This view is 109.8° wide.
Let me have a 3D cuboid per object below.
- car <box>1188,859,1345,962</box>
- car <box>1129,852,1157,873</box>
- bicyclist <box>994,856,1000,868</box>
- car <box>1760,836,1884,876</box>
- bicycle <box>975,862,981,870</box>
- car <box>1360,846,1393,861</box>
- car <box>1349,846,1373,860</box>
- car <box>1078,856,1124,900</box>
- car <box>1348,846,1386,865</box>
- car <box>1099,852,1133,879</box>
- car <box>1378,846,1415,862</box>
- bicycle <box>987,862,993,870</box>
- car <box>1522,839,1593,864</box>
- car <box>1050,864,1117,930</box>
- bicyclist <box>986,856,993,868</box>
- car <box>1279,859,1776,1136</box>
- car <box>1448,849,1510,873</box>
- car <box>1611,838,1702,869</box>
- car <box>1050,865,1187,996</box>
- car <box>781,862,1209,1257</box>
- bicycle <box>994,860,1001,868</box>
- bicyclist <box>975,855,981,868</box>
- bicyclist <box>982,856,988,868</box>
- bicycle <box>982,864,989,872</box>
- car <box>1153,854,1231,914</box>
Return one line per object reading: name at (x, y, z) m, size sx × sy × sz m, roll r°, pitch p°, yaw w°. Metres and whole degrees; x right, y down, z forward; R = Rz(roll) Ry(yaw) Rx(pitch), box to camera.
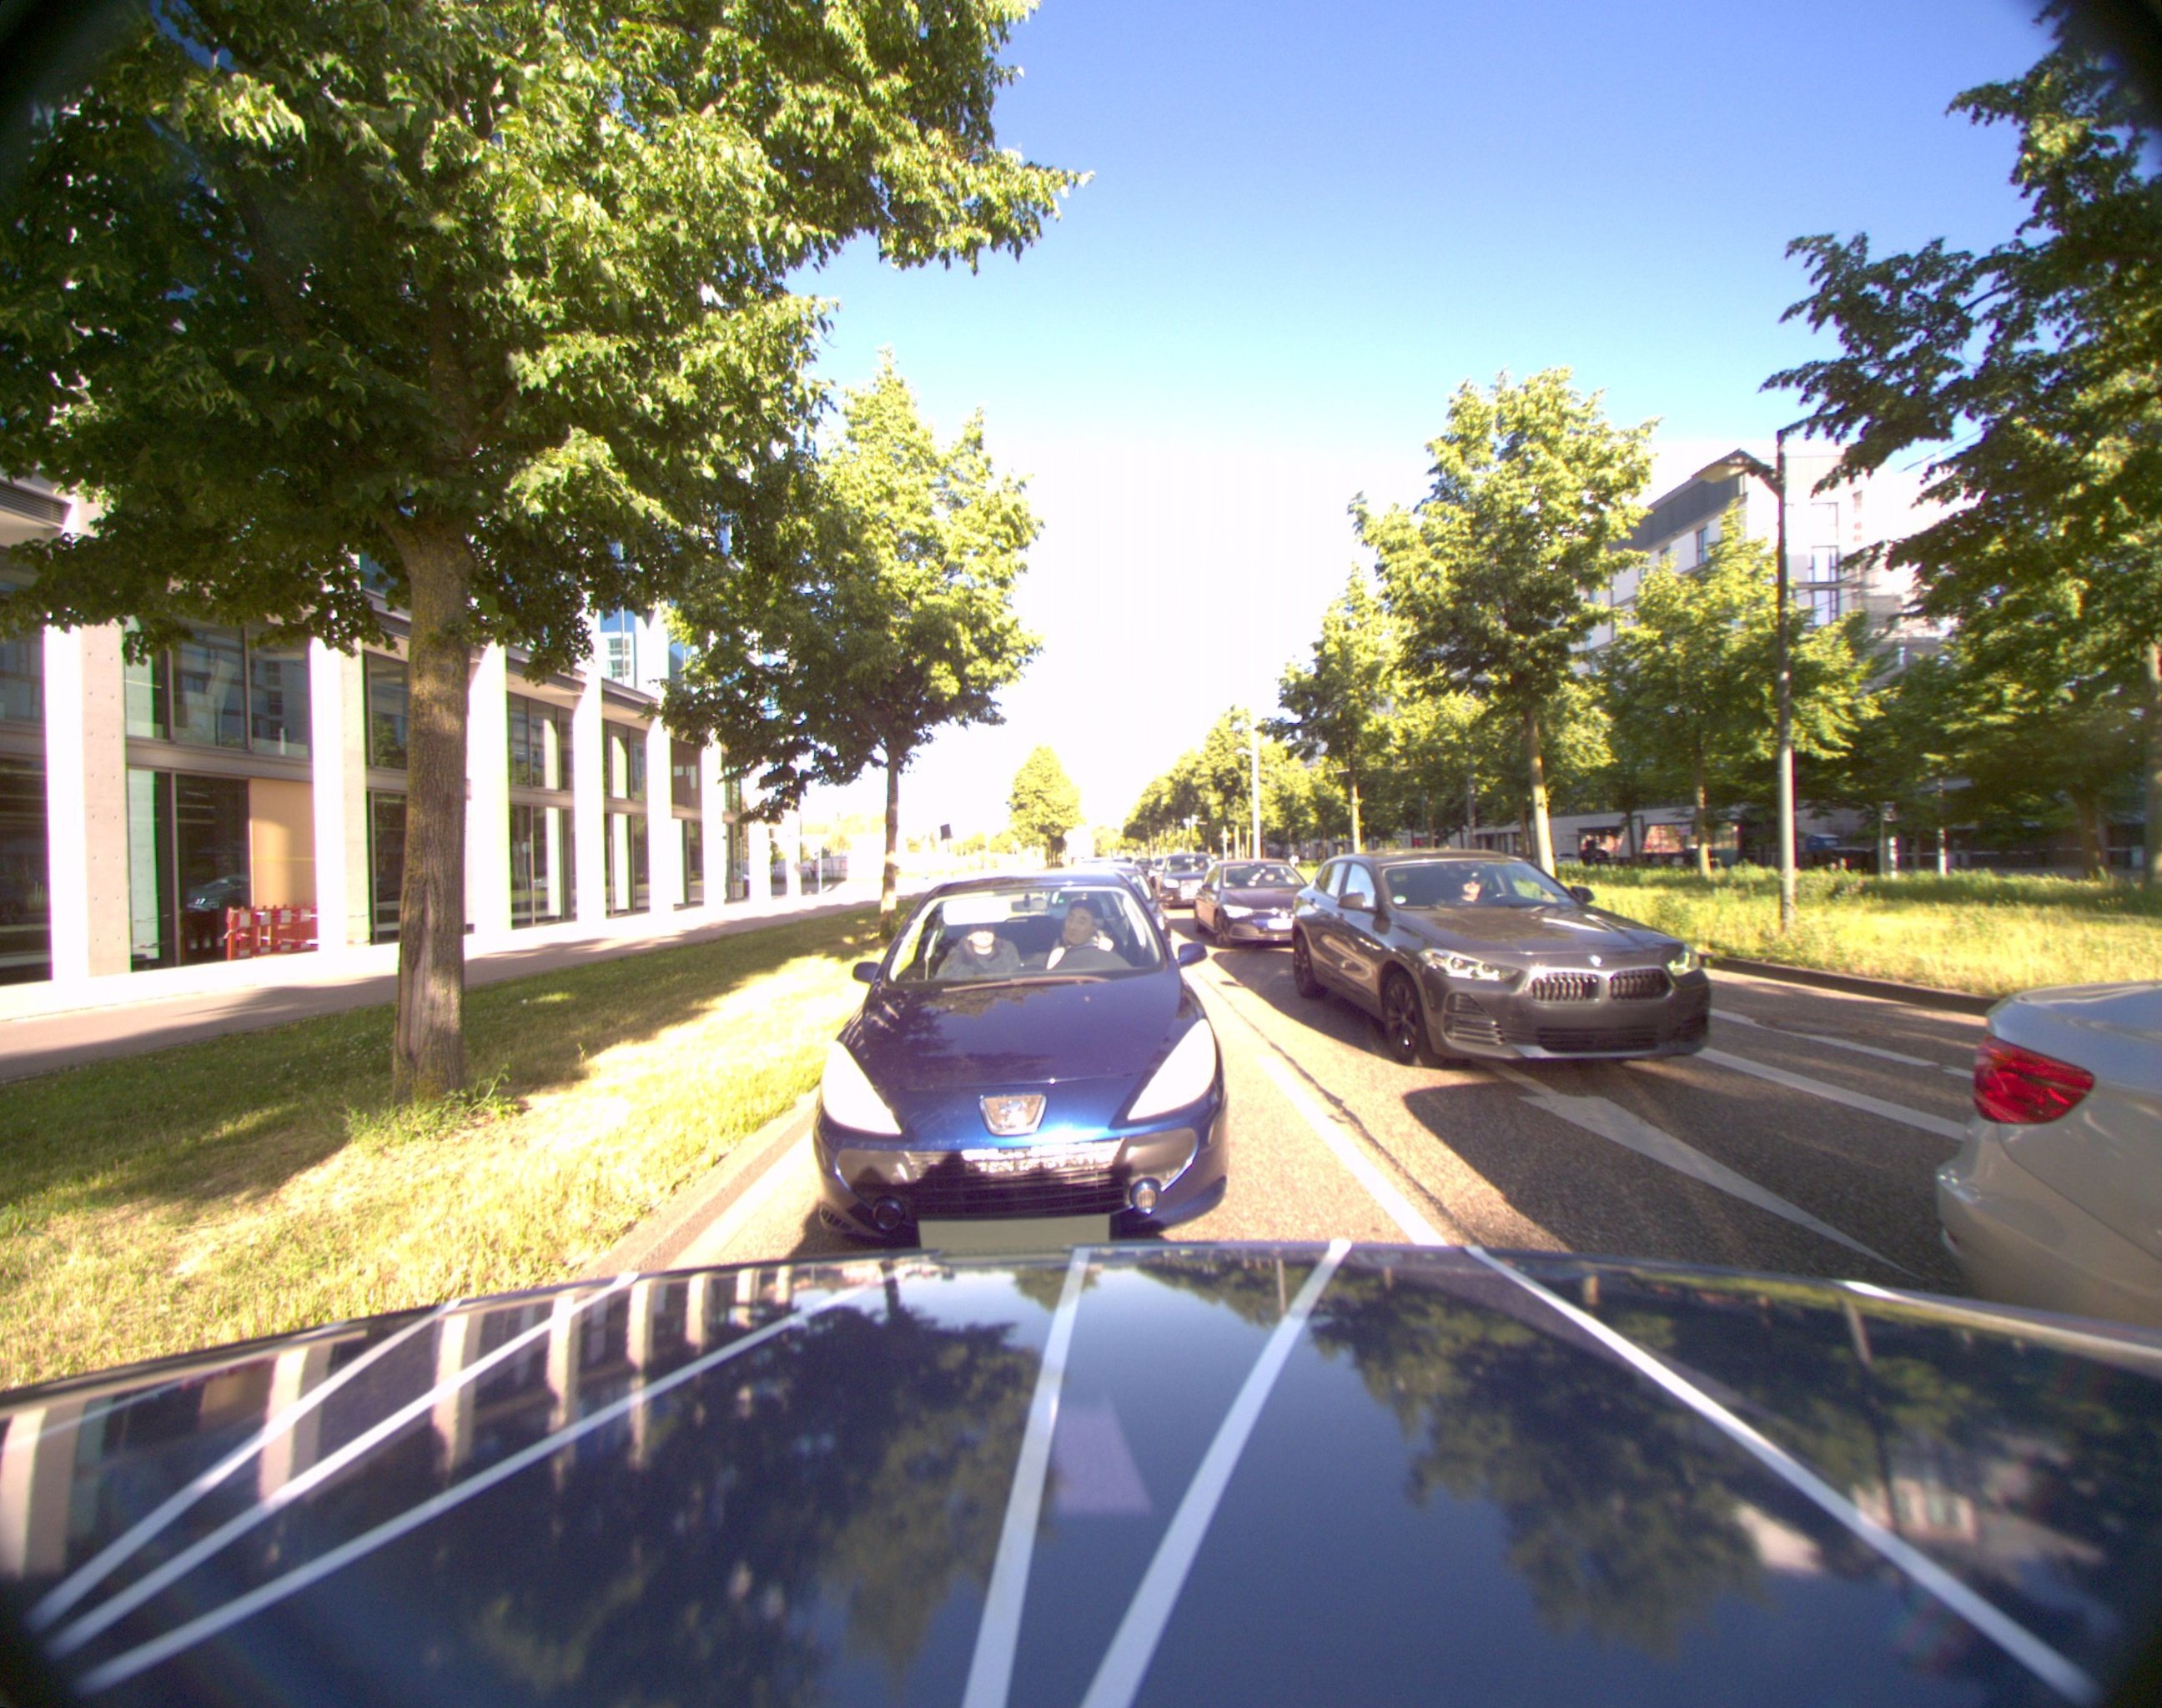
car at (3.049, 0.857, 13.391) m, size 1.812 × 1.445 × 4.254 m, roll -1°, pitch 0°, yaw 2°
car at (5.465, 0.712, 67.465) m, size 2.012 × 1.689 × 4.791 m, roll -1°, pitch 0°, yaw -1°
bicyclist at (-9.034, 0.857, 82.104) m, size 0.534 × 1.282 × 0.521 m, roll -2°, pitch 1°, yaw 1°
car at (34.233, 0.080, 35.251) m, size 1.858 × 1.739 × 4.000 m, roll -1°, pitch 0°, yaw 1°
bicycle at (-10.536, 1.247, 77.850) m, size 0.415 × 0.813 × 1.320 m, roll -2°, pitch 1°, yaw 1°
car at (34.697, -0.041, 89.373) m, size 2.012 × 1.689 × 4.791 m, roll -1°, pitch 0°, yaw -1°
car at (34.707, -0.152, 94.201) m, size 1.601 × 1.659 × 3.743 m, roll -1°, pitch 0°, yaw 1°
car at (0.797, 0.924, 30.721) m, size 1.705 × 1.591 × 3.785 m, roll -1°, pitch 0°, yaw 1°
car at (27.330, 0.128, 72.646) m, size 1.858 × 1.719 × 4.792 m, roll -1°, pitch 0°, yaw 1°
car at (2.330, 0.723, 51.762) m, size 2.012 × 1.689 × 4.791 m, roll -1°, pitch 0°, yaw -1°
car at (34.666, 0.009, 83.566) m, size 2.012 × 1.689 × 4.791 m, roll -1°, pitch 0°, yaw -1°
bicycle at (-9.348, 1.199, 77.960) m, size 0.464 × 0.813 × 1.344 m, roll -2°, pitch 1°, yaw 1°
car at (34.834, -0.164, 55.728) m, size 2.012 × 1.689 × 4.791 m, roll -1°, pitch 0°, yaw -3°
car at (0.085, 0.944, 18.149) m, size 1.407 × 1.326 × 3.785 m, roll -1°, pitch 0°, yaw 1°
bicyclist at (-9.370, 0.777, 77.942) m, size 0.534 × 1.210 × 0.507 m, roll -2°, pitch 1°, yaw 1°
car at (3.084, 0.837, 6.363) m, size 1.812 × 1.513 × 4.029 m, roll -1°, pitch 0°, yaw 1°
car at (23.835, 0.391, 45.701) m, size 1.666 × 1.384 × 4.000 m, roll -1°, pitch 0°, yaw 1°
car at (34.422, -0.033, 45.603) m, size 1.858 × 1.674 × 4.792 m, roll -1°, pitch 0°, yaw 1°
car at (0.484, 0.955, 11.367) m, size 1.612 × 1.463 × 4.395 m, roll -1°, pitch 0°, yaw 1°
car at (-0.321, 0.851, 4.951) m, size 1.686 × 1.513 × 3.785 m, roll -1°, pitch 0°, yaw 1°
bicycle at (-9.025, 1.127, 82.086) m, size 0.464 × 0.813 × 1.344 m, roll -2°, pitch 1°, yaw 1°
bicyclist at (-10.561, 0.787, 77.909) m, size 0.448 × 1.282 × 0.418 m, roll -2°, pitch 1°, yaw 1°
bicyclist at (-10.300, 0.903, 81.805) m, size 0.534 × 1.282 × 0.457 m, roll -2°, pitch 1°, yaw 1°
bicycle at (-10.293, 1.458, 81.834) m, size 0.464 × 0.813 × 1.344 m, roll -2°, pitch 1°, yaw 1°
car at (3.192, 0.804, 22.604) m, size 1.812 × 1.581 × 4.165 m, roll -1°, pitch 0°, yaw 2°
